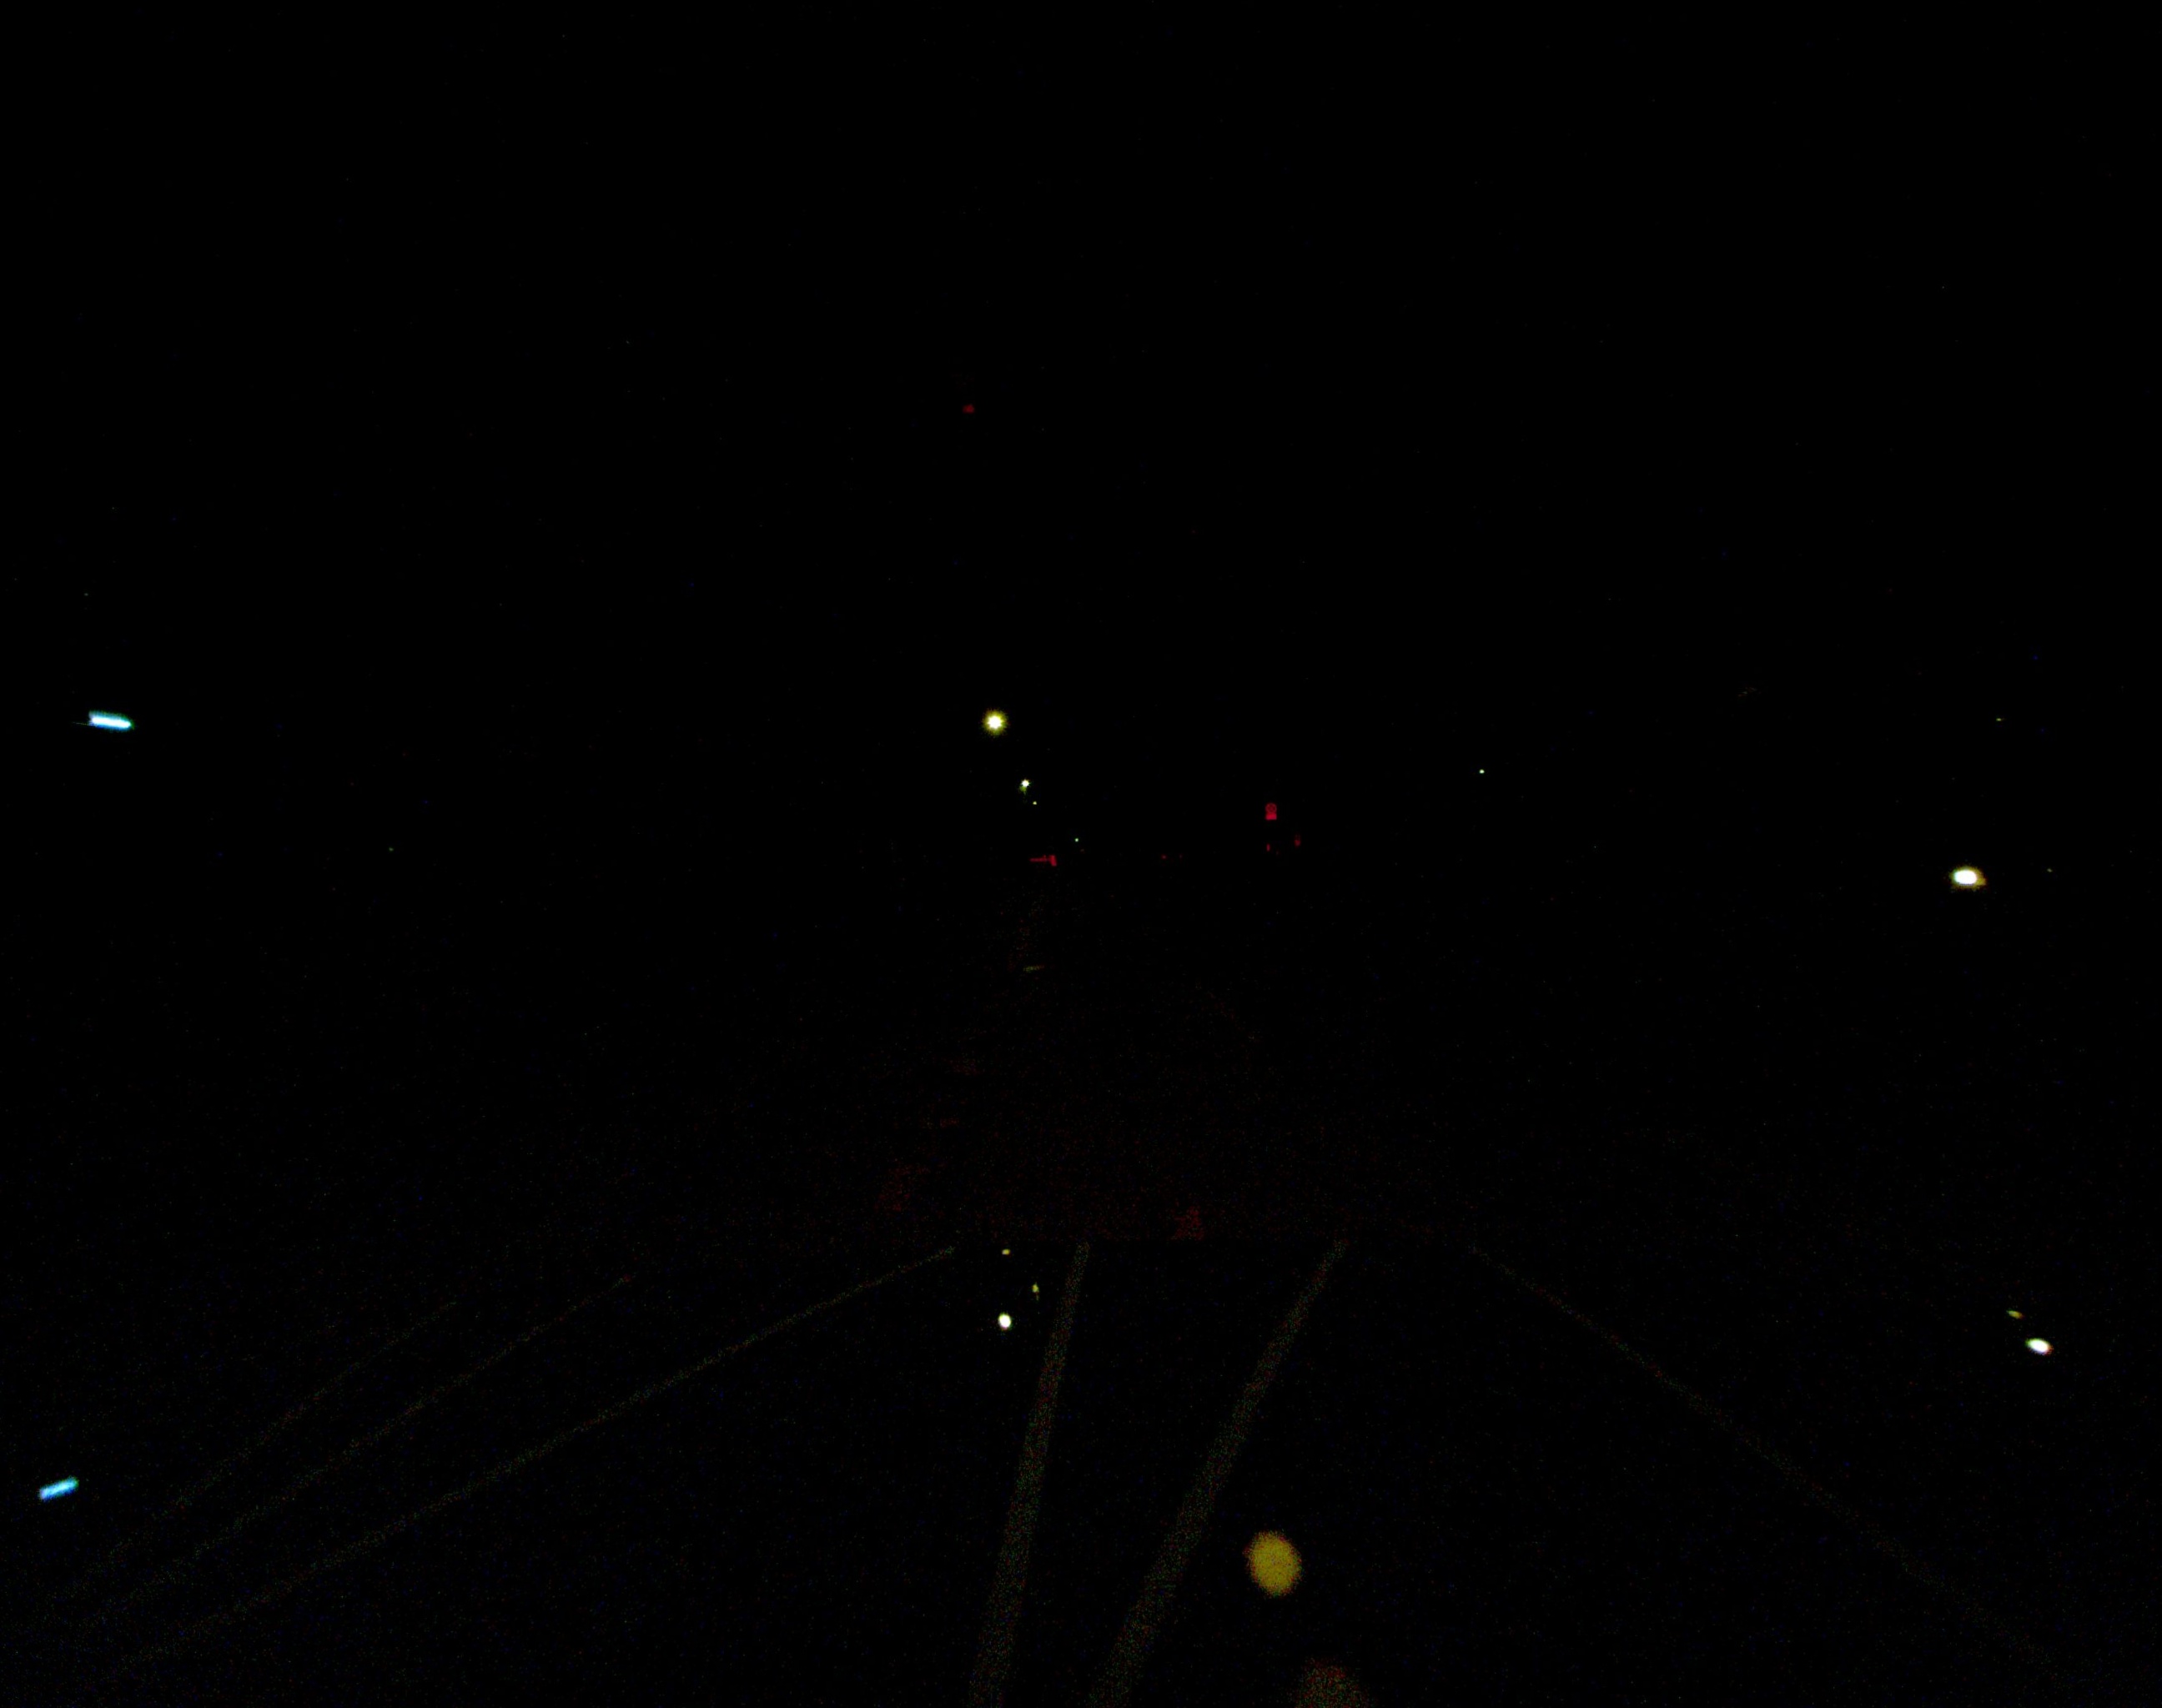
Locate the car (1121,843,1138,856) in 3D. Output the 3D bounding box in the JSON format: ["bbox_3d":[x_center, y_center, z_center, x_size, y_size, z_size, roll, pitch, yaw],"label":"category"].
[{"bbox_3d":[6.365,-0.607,100.436,1.911,1.445,3.999,-3,2,1],"label":"car"}]

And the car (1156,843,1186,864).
[{"bbox_3d":[7.210,-0.060,61.025,1.911,1.445,3.999,-3,2,1],"label":"car"}]

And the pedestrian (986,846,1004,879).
[{"bbox_3d":[-4.969,0.489,43.892,0.824,1.809,0.608,-3,2,1],"label":"pedestrian"}]

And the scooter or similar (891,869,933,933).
[{"bbox_3d":[-3.605,0.981,16.321,0.570,1.271,1.391,0,0,0],"label":"scooter or similar"}]

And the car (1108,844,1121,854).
[{"bbox_3d":[5.178,-0.786,117.851,1.911,1.445,3.999,-3,2,1],"label":"car"}]

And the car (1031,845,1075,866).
[{"bbox_3d":[-2.561,0.124,70.802,3.997,1.821,1.912,-1,2,0],"label":"car"}]
